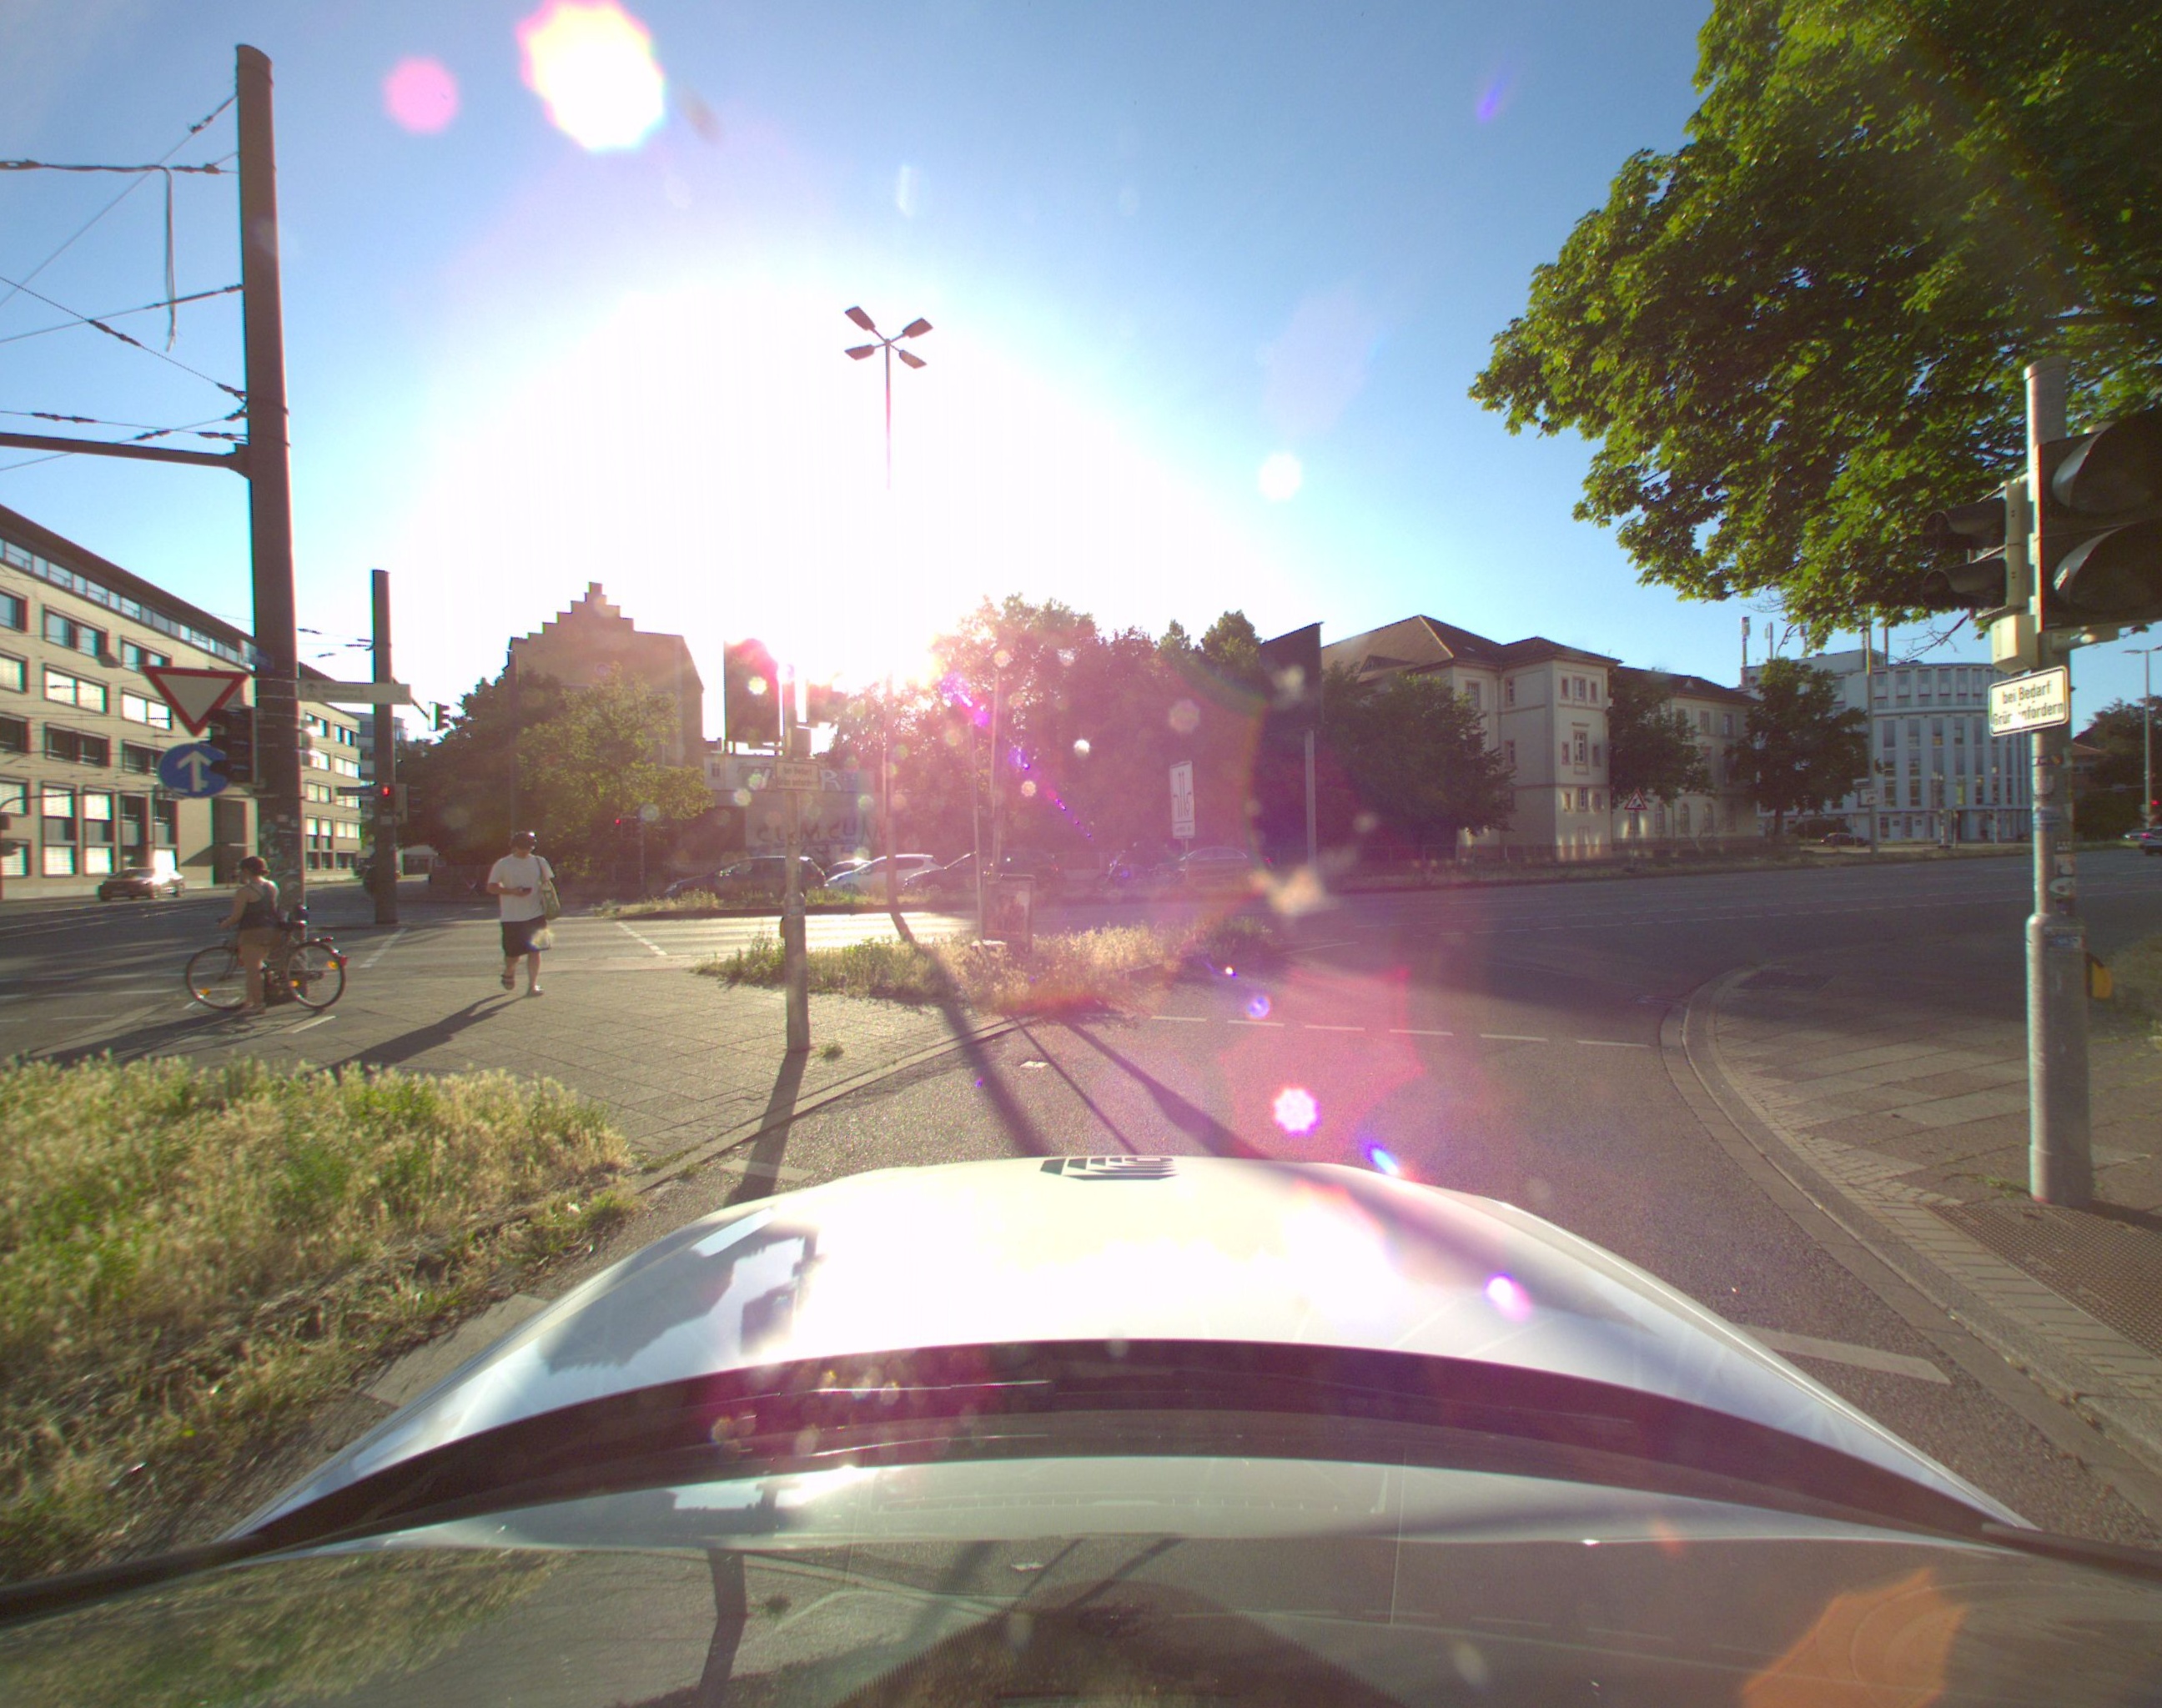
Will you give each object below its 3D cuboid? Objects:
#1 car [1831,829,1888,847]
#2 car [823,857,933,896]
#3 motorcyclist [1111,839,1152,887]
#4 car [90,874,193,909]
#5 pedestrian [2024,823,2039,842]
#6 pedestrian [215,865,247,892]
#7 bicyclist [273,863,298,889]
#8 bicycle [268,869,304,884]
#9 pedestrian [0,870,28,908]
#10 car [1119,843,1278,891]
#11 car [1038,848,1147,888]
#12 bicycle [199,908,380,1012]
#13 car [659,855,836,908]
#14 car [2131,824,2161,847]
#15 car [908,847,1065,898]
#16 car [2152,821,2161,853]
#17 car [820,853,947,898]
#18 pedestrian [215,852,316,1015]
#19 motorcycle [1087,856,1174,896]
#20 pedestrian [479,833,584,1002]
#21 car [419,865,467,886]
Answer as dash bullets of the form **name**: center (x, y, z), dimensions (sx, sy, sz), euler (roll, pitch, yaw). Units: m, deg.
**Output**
- **car**: center (78.420, -1.581, 82.051), dimensions (1.869, 1.530, 3.783), euler (1, -2, -31)
- **car**: center (-7.635, 0.820, 30.753), dimensions (3.887, 1.296, 1.716), euler (-1, 0, -14)
- **motorcyclist**: center (1.521, 0.272, 24.645), dimensions (1.059, 1.398, 0.851), euler (-1, 0, -12)
- **car**: center (-48.415, 1.887, 42.104), dimensions (1.825, 1.614, 4.427), euler (-1, 0, -26)
- **pedestrian**: center (97.250, -2.194, 83.314), dimensions (1.128, 1.868, 0.624), euler (-1, 0, -22)
- **pedestrian**: center (-65.879, 1.855, 63.125), dimensions (1.246, 2.013, 1.541), euler (-1, 0, -26)
- **bicyclist**: center (-62.664, 1.724, 64.164), dimensions (0.996, 2.013, 1.241), euler (-1, 0, -23)
- **bicycle**: center (-62.691, 1.770, 64.225), dimensions (1.013, 1.135, 2.806), euler (0, 0, -22)
- **pedestrian**: center (-56.890, 1.853, 43.182), dimensions (0.932, 2.013, 0.980), euler (-1, 0, -26)
- **car**: center (4.193, 0.439, 29.098), dimensions (5.289, 1.496, 1.988), euler (-2, 0, -18)
- **car**: center (0.455, 0.540, 32.867), dimensions (3.998, 1.464, 1.848), euler (-1, 1, -19)
- **bicycle**: center (-8.329, 1.109, 8.580), dimensions (1.657, 1.029, 0.400), euler (-1, 0, 7)
- **car**: center (-9.104, 0.718, 22.557), dimensions (4.235, 1.296, 1.718), euler (-1, 0, -10)
- **car**: center (70.299, -1.241, 53.040), dimensions (4.009, 1.456, 1.675), euler (-2, 1, -27)
- **car**: center (-2.779, 0.509, 23.692), dimensions (4.365, 1.296, 1.717), euler (-1, 0, -12)
- **car**: center (55.258, -0.898, 40.504), dimensions (4.059, 1.564, 1.738), euler (-2, 0, -28)
- **car**: center (-6.449, 0.679, 26.769), dimensions (3.887, 1.319, 1.716), euler (-1, 0, -14)
- **pedestrian**: center (-8.443, 0.800, 8.445), dimensions (0.521, 1.631, 0.490), euler (-1, 0, 7)
- **motorcycle**: center (1.490, 0.647, 24.639), dimensions (2.463, 1.108, 0.858), euler (-1, 0, -12)
- **pedestrian**: center (-6.214, 0.668, 9.227), dimensions (0.915, 1.789, 0.818), euler (-1, 0, -34)
- **car**: center (-46.314, 1.530, 59.220), dimensions (1.793, 1.388, 3.969), euler (-1, 0, -23)
